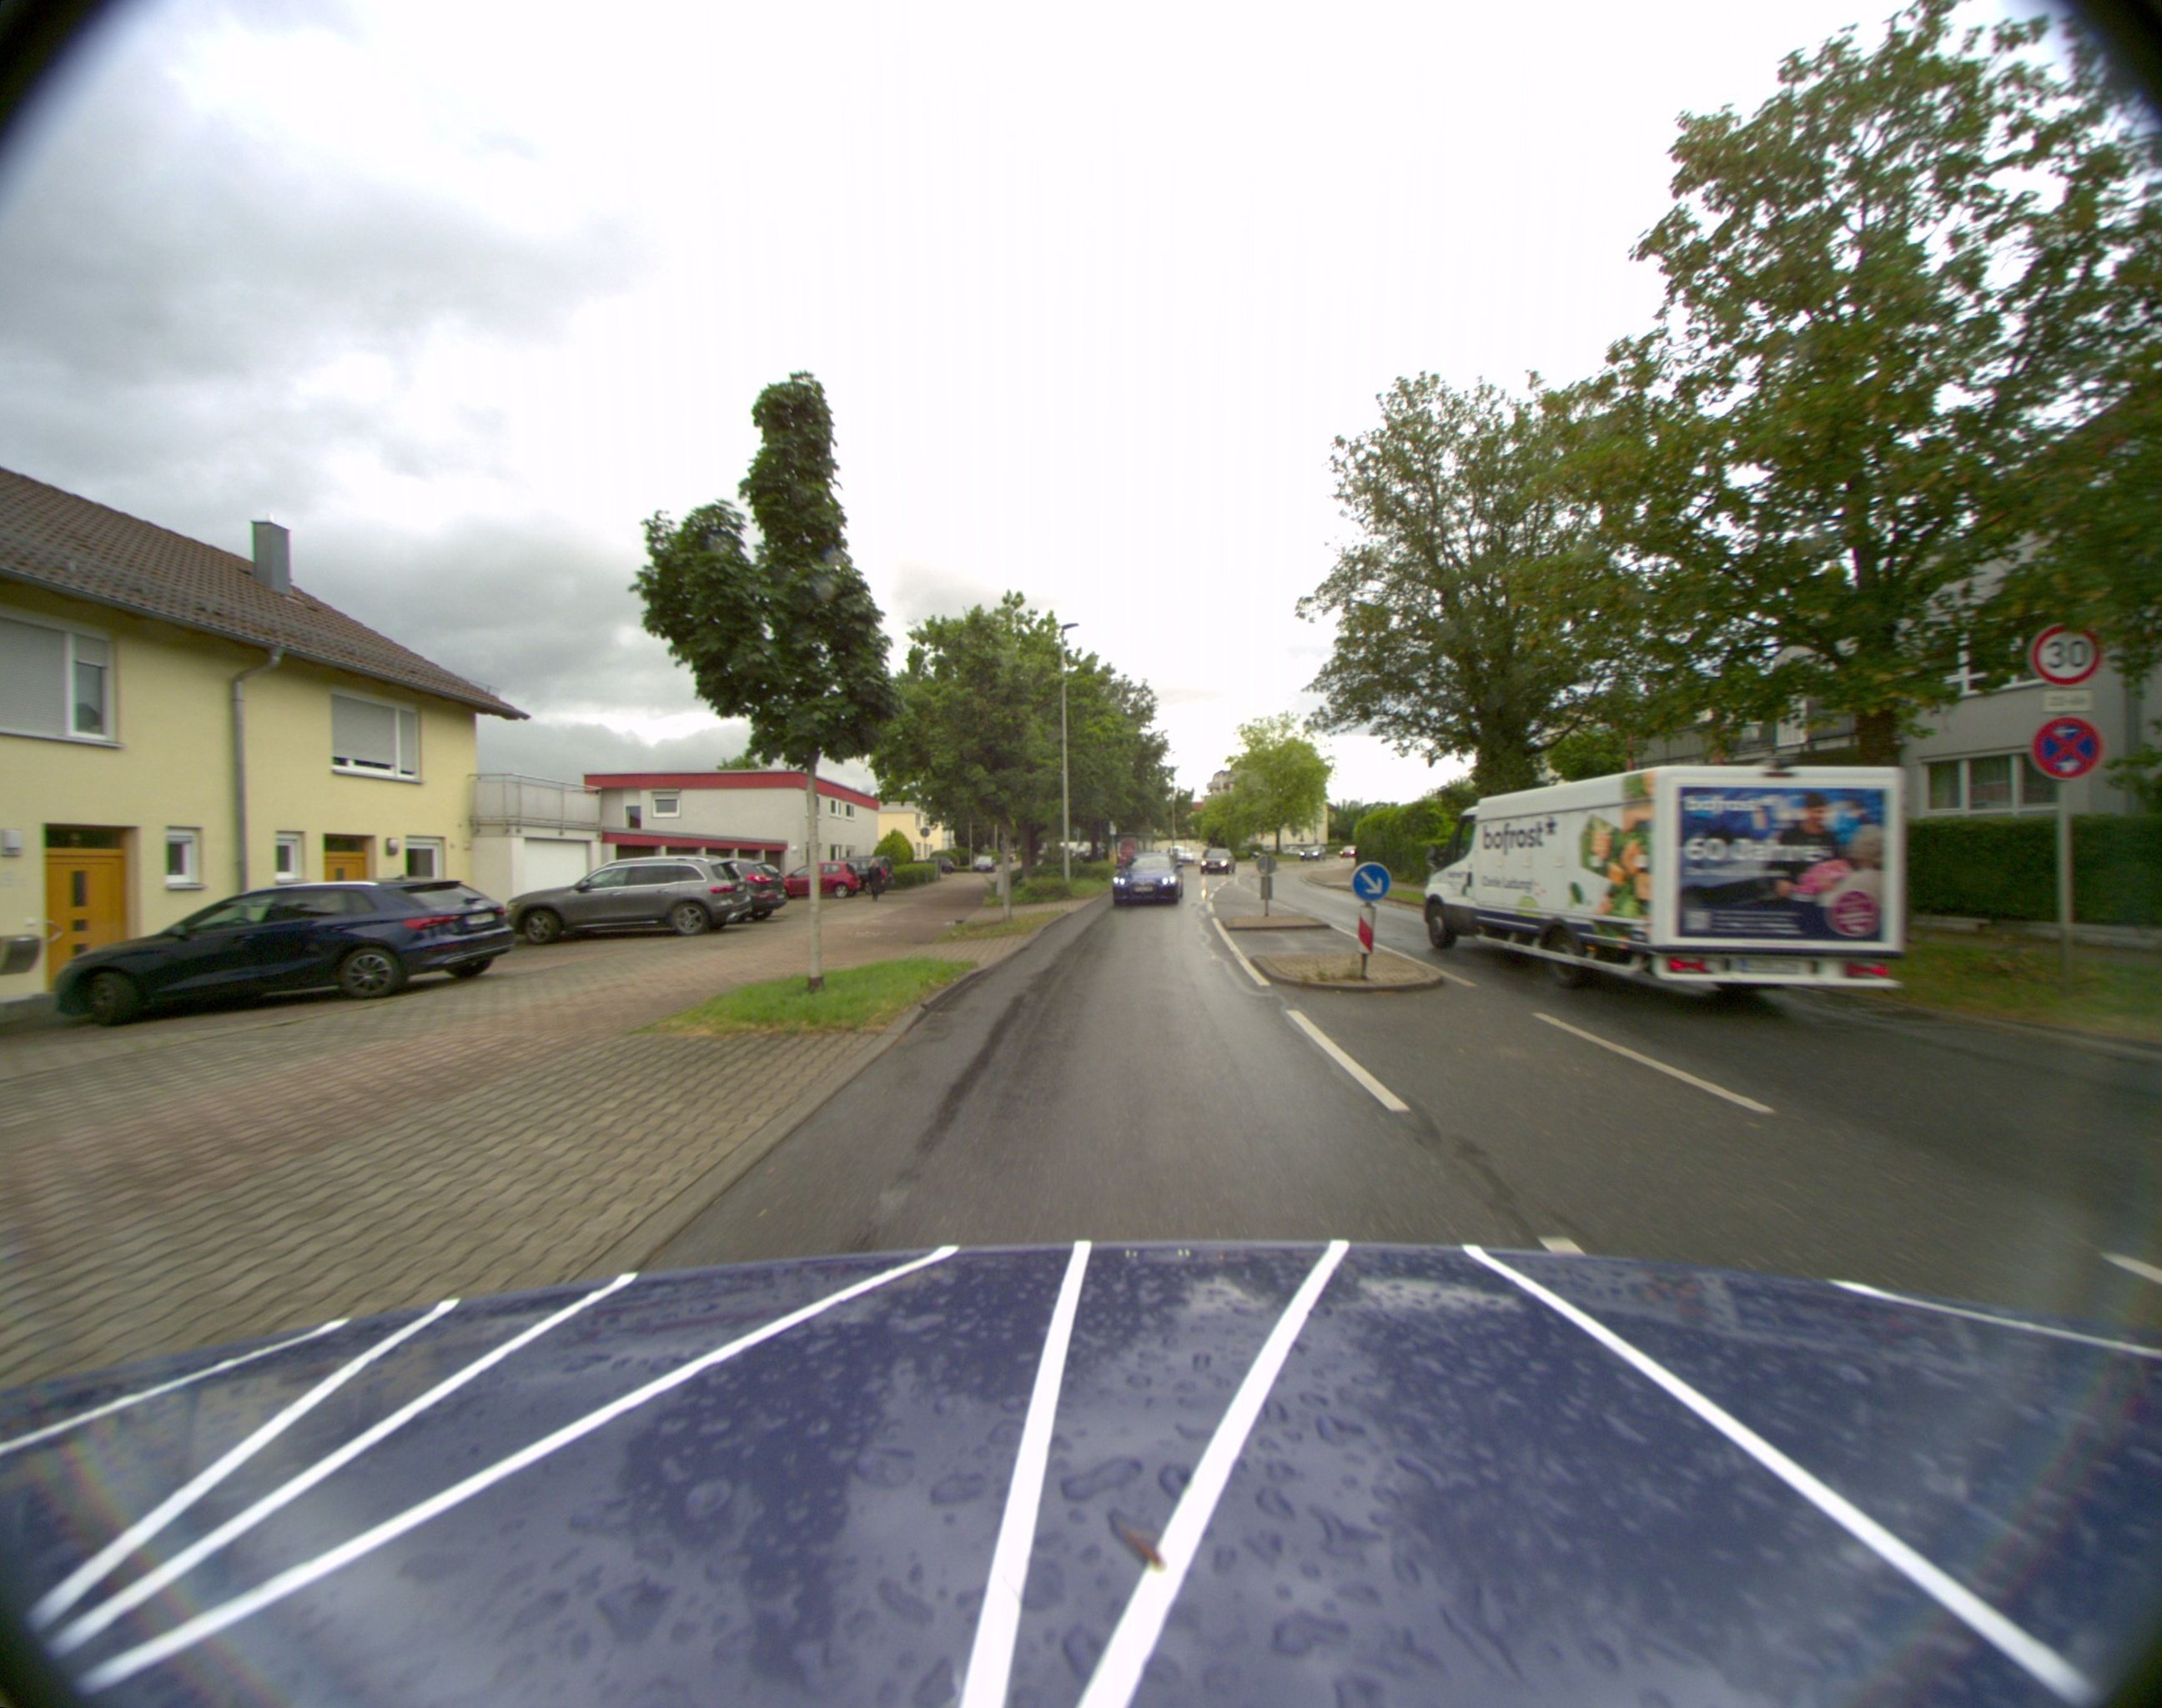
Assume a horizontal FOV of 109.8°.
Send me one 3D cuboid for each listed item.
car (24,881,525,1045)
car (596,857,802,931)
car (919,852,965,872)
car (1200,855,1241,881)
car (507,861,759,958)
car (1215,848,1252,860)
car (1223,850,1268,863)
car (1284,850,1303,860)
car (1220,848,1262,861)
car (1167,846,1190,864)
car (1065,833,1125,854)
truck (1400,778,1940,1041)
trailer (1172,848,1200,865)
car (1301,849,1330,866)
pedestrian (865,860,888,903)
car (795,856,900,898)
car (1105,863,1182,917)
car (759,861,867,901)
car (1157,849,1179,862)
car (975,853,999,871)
[{"bbox_3d":[-9.568,1.223,9.346,3.999,1.379,1.674,-5,0,-7],"label":"car"},{"bbox_3d":[-9.599,0.973,19.368,4.190,1.662,1.991,-1,1,-1],"label":"car"},{"bbox_3d":[-11.533,0.635,63.237,3.622,1.524,1.761,1,0,-5],"label":"car"},{"bbox_3d":[8.560,0.806,46.418,1.838,1.440,4.005,-2,0,19],"label":"car"},{"bbox_3d":[-9.378,1.110,16.244,4.193,1.662,1.720,-4,1,-9],"label":"car"},{"bbox_3d":[18.443,0.014,92.063,4.012,1.434,1.767,0,1,27],"label":"car"},{"bbox_3d":[18.572,0.258,85.863,4.575,1.434,1.767,0,1,27],"label":"car"},{"bbox_3d":[32.995,0.166,117.917,1.746,1.472,3.767,-1,1,-4],"label":"car"},{"bbox_3d":[18.657,0.033,88.607,4.575,1.434,1.767,0,1,27],"label":"car"},{"bbox_3d":[10.214,0.103,79.809,1.998,1.870,4.213,-1,0,2],"label":"car"},{"bbox_3d":[1.422,-1.080,77.347,5.825,2.002,2.003,0,1,22],"label":"car"},{"bbox_3d":[6.287,0.482,9.627,2.222,2.191,6.466,-1,0,5],"label":"truck"},{"bbox_3d":[10.125,0.198,73.734,1.999,1.534,4.425,-1,0,-1],"label":"trailer"},{"bbox_3d":[24.149,0.347,78.129,1.837,1.541,4.007,-1,0,31],"label":"car"},{"bbox_3d":[-7.566,0.999,28.149,0.666,1.549,0.842,-1,1,-7],"label":"pedestrian"},{"bbox_3d":[-10.144,0.974,33.267,3.998,1.711,1.923,-1,1,-4],"label":"car"},{"bbox_3d":[1.987,1.025,22.951,1.911,1.425,4.304,-1,0,10],"label":"car"},{"bbox_3d":[-10.687,1.051,30.521,3.702,1.433,1.706,-1,1,-4],"label":"car"},{"bbox_3d":[9.775,0.192,85.631,1.765,1.374,4.186,-1,0,-3],"label":"car"},{"bbox_3d":[-8.518,0.690,68.962,1.691,1.501,3.826,-2,0,-1],"label":"car"}]
